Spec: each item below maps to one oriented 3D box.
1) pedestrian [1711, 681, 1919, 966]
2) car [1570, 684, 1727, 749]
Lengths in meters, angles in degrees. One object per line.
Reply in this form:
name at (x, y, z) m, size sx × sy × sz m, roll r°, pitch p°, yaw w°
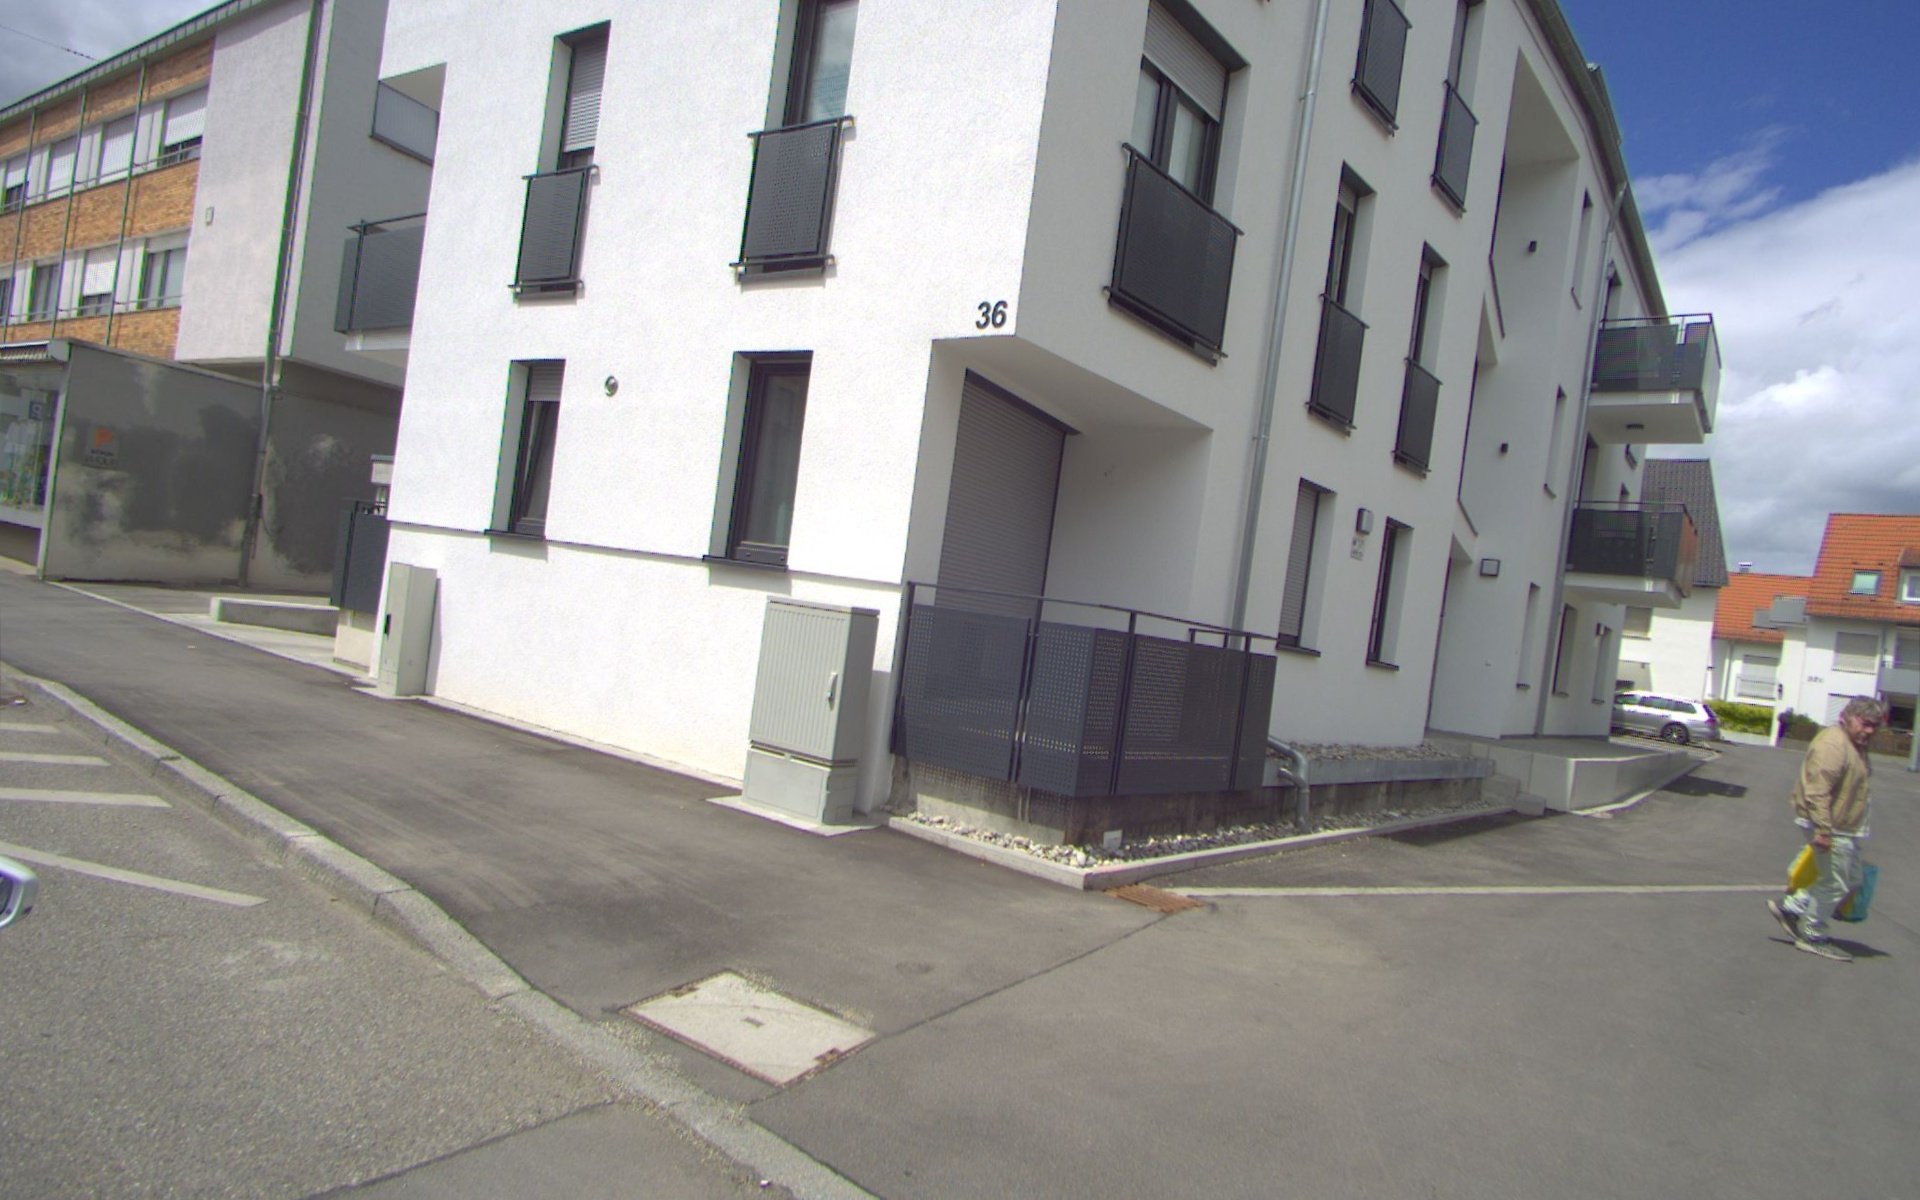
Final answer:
pedestrian at (5.563, 1.412, 6.547) m, size 0.606 × 1.667 × 0.738 m, roll 6°, pitch 0°, yaw -11°
car at (22.215, 3.733, 32.547) m, size 3.943 × 1.504 × 1.777 m, roll 6°, pitch -1°, yaw 40°
